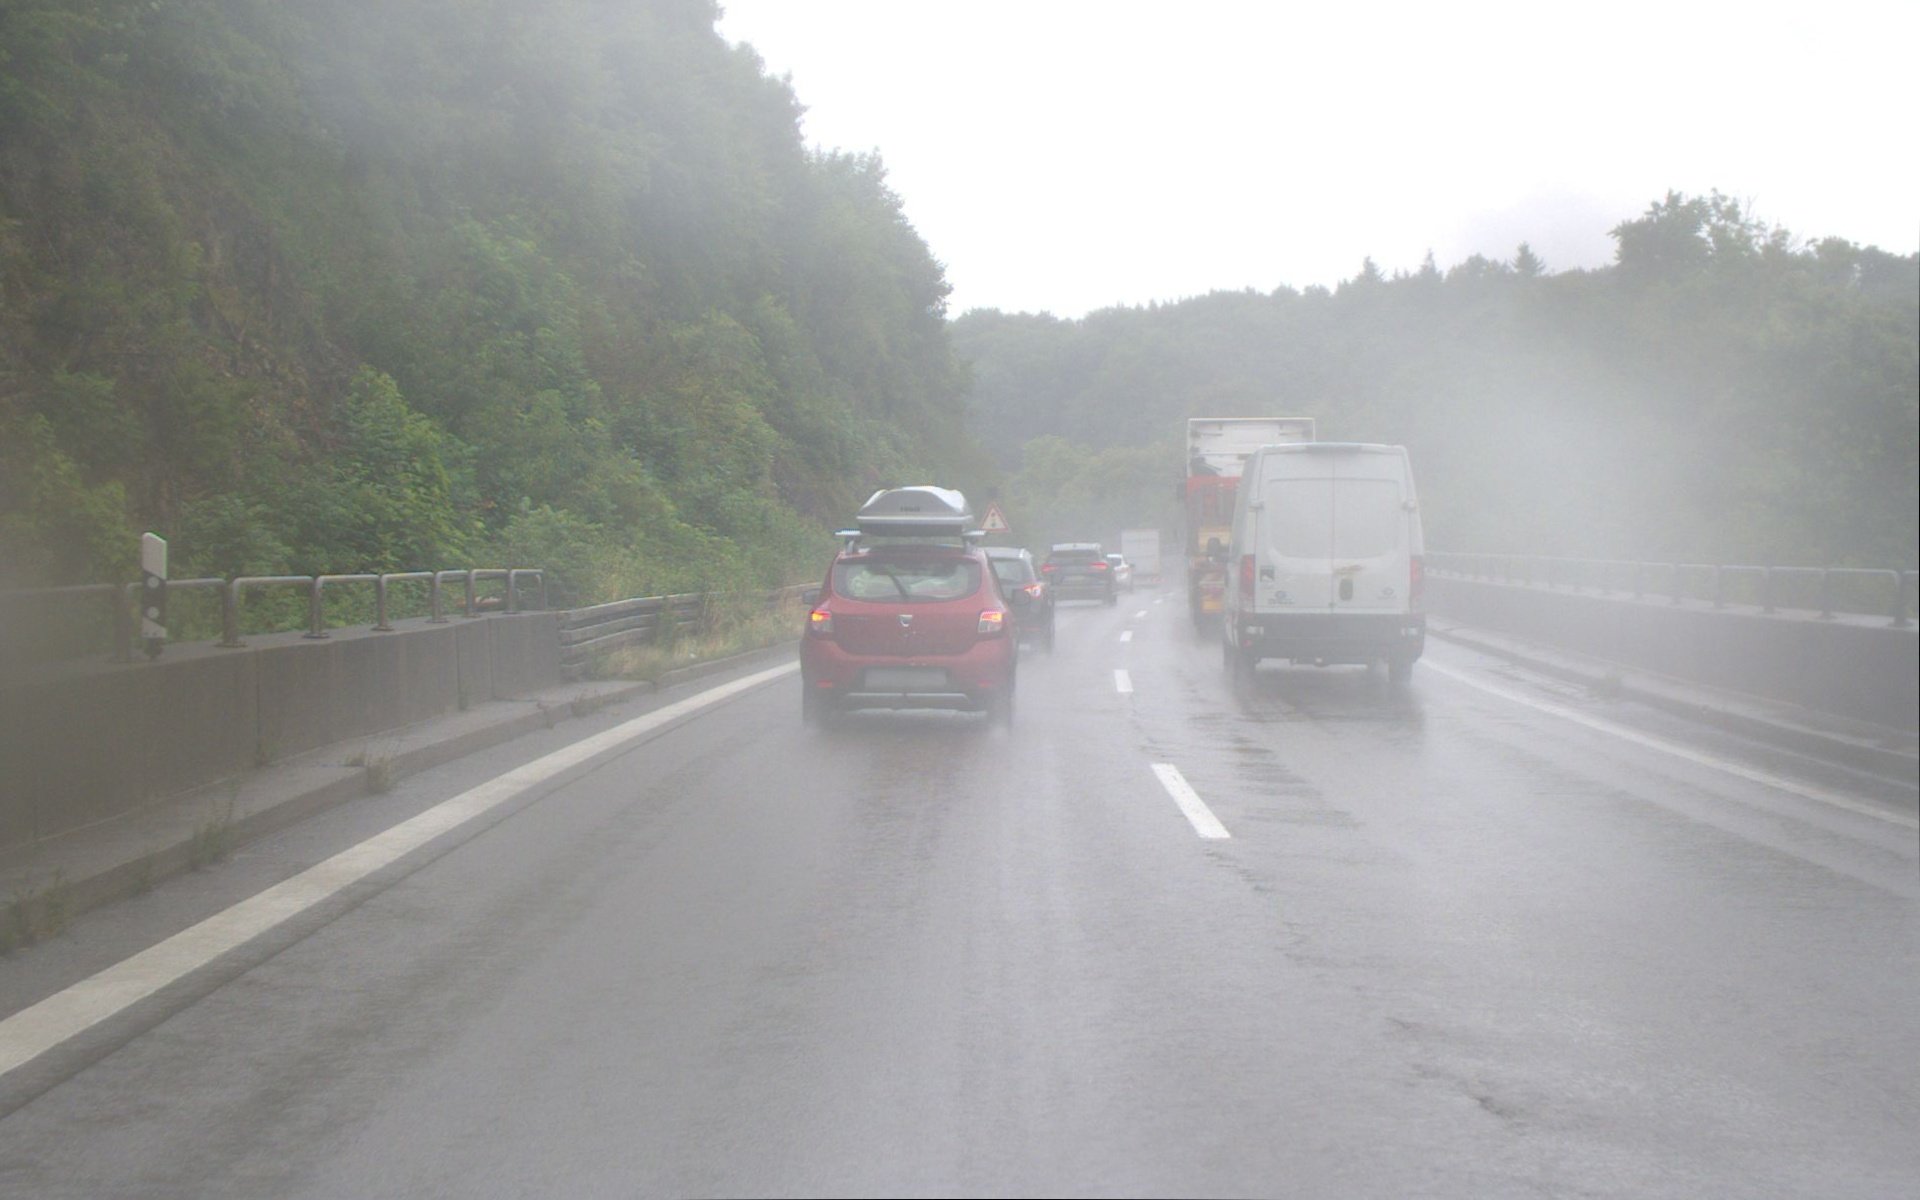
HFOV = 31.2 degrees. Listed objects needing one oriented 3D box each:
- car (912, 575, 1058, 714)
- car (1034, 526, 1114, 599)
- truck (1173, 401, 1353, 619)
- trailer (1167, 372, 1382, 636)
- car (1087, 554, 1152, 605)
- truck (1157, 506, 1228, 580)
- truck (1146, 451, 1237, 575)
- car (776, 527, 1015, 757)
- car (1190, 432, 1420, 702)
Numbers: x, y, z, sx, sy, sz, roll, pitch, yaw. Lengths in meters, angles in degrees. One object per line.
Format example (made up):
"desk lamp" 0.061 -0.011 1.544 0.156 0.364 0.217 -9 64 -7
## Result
"car" 0.379 0.575 47.224 1.833 1.709 3.645 -4 1 2
"car" 2.899 -0.950 86.790 1.875 1.700 3.888 -4 1 3
"truck" 5.804 -1.704 66.382 3.220 3.964 5.438 -1 1 4
"trailer" 5.330 -1.589 59.835 3.219 3.985 13.522 -1 1 4
"car" 5.583 -0.730 119.914 1.994 1.634 3.999 -4 1 5
"truck" 10.593 -2.611 157.259 3.062 3.300 8.070 0 1 3
"truck" 8.188 -3.037 122.537 2.687 4.080 9.315 -4 1 2
"car" -0.483 0.306 28.779 1.758 1.679 4.000 -4 1 1
"car" 3.810 -0.395 39.200 2.206 2.784 7.382 0 1 3
